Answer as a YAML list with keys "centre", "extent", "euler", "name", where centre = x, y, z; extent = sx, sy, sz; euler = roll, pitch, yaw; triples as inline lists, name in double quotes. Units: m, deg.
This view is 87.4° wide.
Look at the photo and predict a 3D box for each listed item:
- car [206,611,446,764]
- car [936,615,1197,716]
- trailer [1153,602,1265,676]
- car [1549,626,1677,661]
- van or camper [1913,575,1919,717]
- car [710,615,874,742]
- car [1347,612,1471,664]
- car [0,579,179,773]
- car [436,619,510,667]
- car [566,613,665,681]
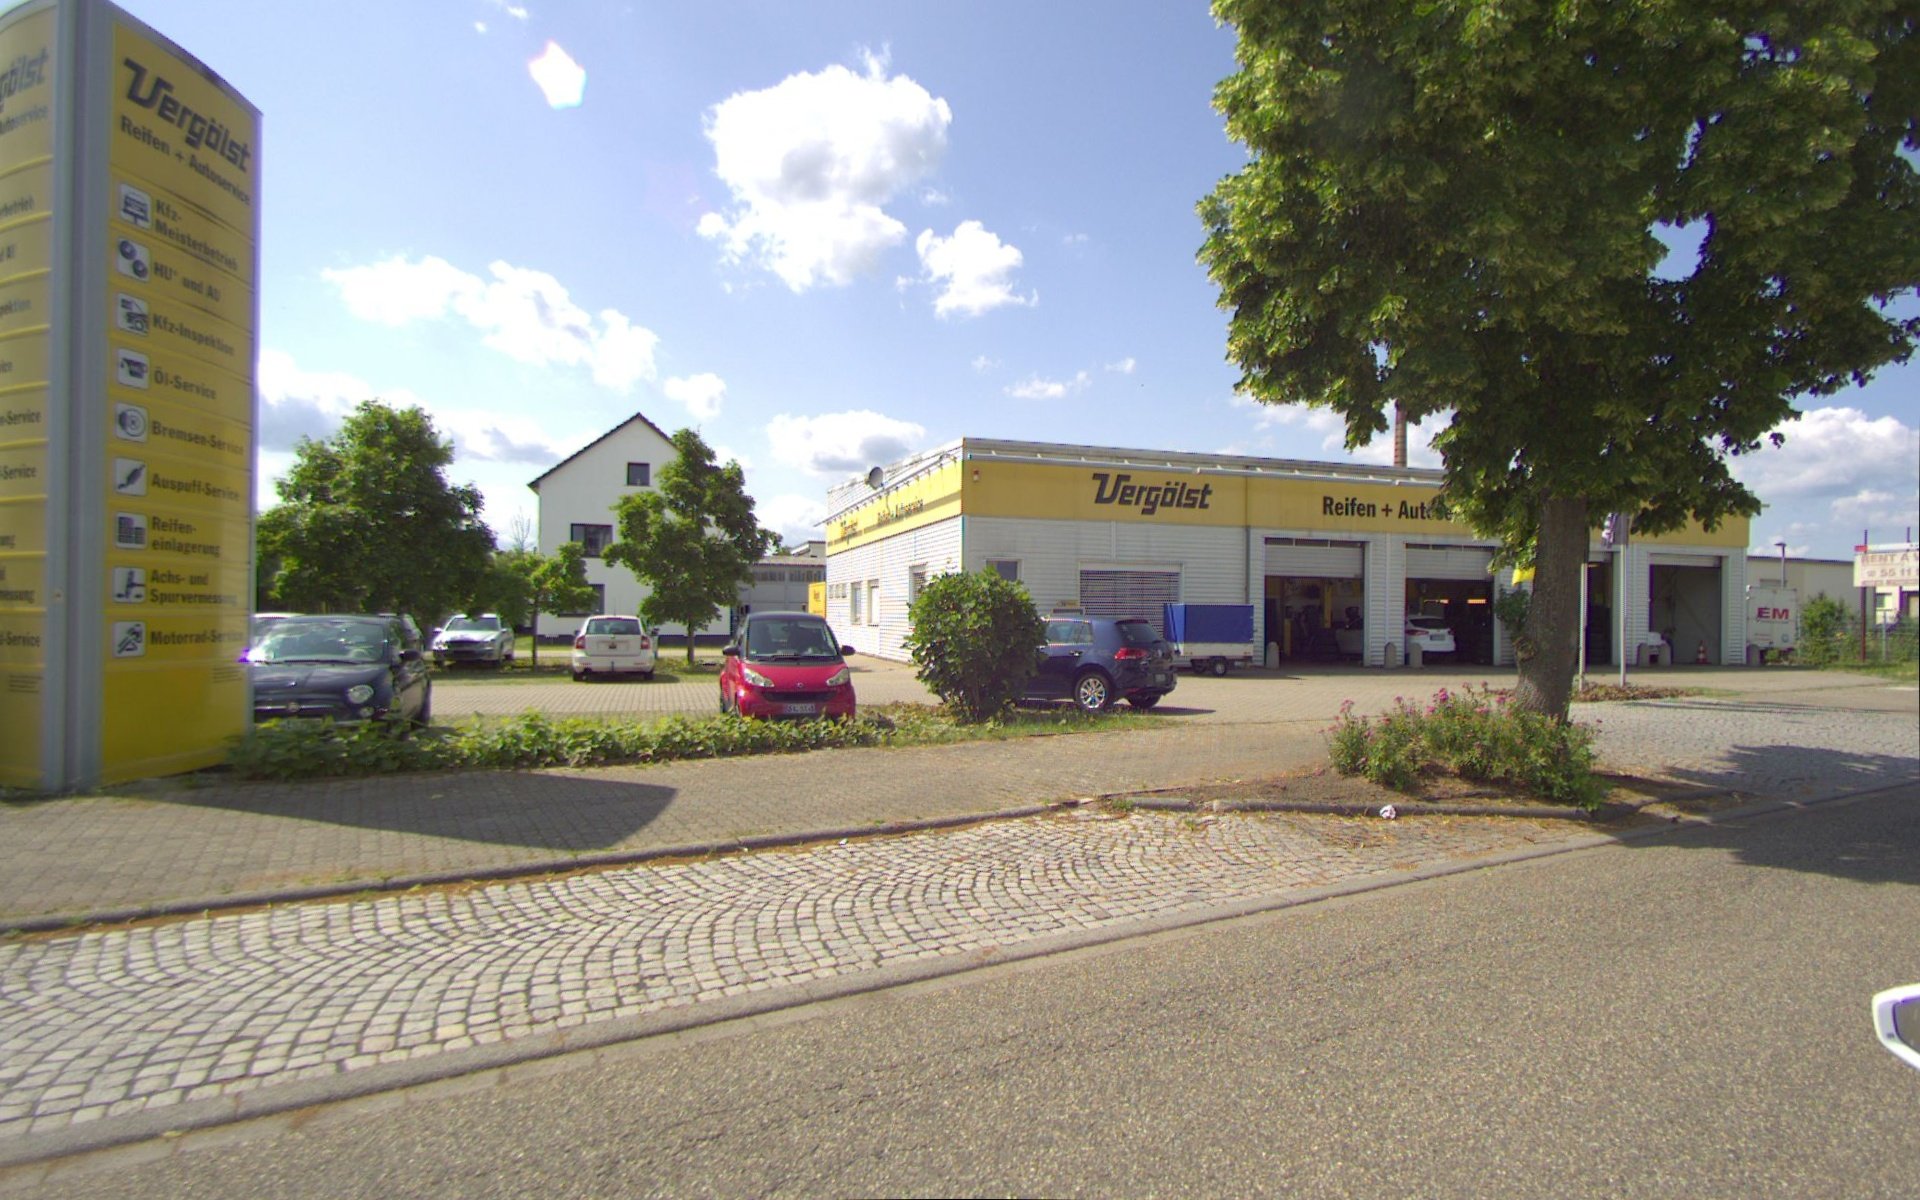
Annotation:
- centre: [-7.061, 0.872, 11.545]
  extent: [1.637, 1.441, 3.402]
  euler: [1, -1, -20]
  name: "car"
- centre: [1.622, 0.967, 15.929]
  extent: [3.745, 1.396, 1.870]
  euler: [-2, -2, 41]
  name: "car"
- centre: [5.853, 0.903, 23.706]
  extent: [2.169, 1.671, 1.370]
  euler: [1, 0, -16]
  name: "trailer"
- centre: [22.055, 1.443, 34.090]
  extent: [1.515, 1.051, 3.637]
  euler: [1, -1, -12]
  name: "car"
- centre: [20.351, 0.863, 18.195]
  extent: [7.599, 2.445, 2.165]
  euler: [1, 0, -28]
  name: "van or camper"
- centre: [-2.440, 0.963, 13.846]
  extent: [1.703, 1.441, 3.834]
  euler: [1, -1, -18]
  name: "car"
- centre: [13.777, 1.126, 31.092]
  extent: [1.951, 1.483, 3.999]
  euler: [1, -1, -2]
  name: "car"
- centre: [-9.789, 0.655, 10.236]
  extent: [1.764, 1.694, 3.762]
  euler: [1, 0, -20]
  name: "car"
- centre: [-13.923, 1.200, 28.882]
  extent: [1.653, 1.172, 3.464]
  euler: [1, 0, -22]
  name: "car"
- centre: [-7.800, 1.018, 23.045]
  extent: [1.894, 1.409, 3.987]
  euler: [1, -1, -16]
  name: "car"
